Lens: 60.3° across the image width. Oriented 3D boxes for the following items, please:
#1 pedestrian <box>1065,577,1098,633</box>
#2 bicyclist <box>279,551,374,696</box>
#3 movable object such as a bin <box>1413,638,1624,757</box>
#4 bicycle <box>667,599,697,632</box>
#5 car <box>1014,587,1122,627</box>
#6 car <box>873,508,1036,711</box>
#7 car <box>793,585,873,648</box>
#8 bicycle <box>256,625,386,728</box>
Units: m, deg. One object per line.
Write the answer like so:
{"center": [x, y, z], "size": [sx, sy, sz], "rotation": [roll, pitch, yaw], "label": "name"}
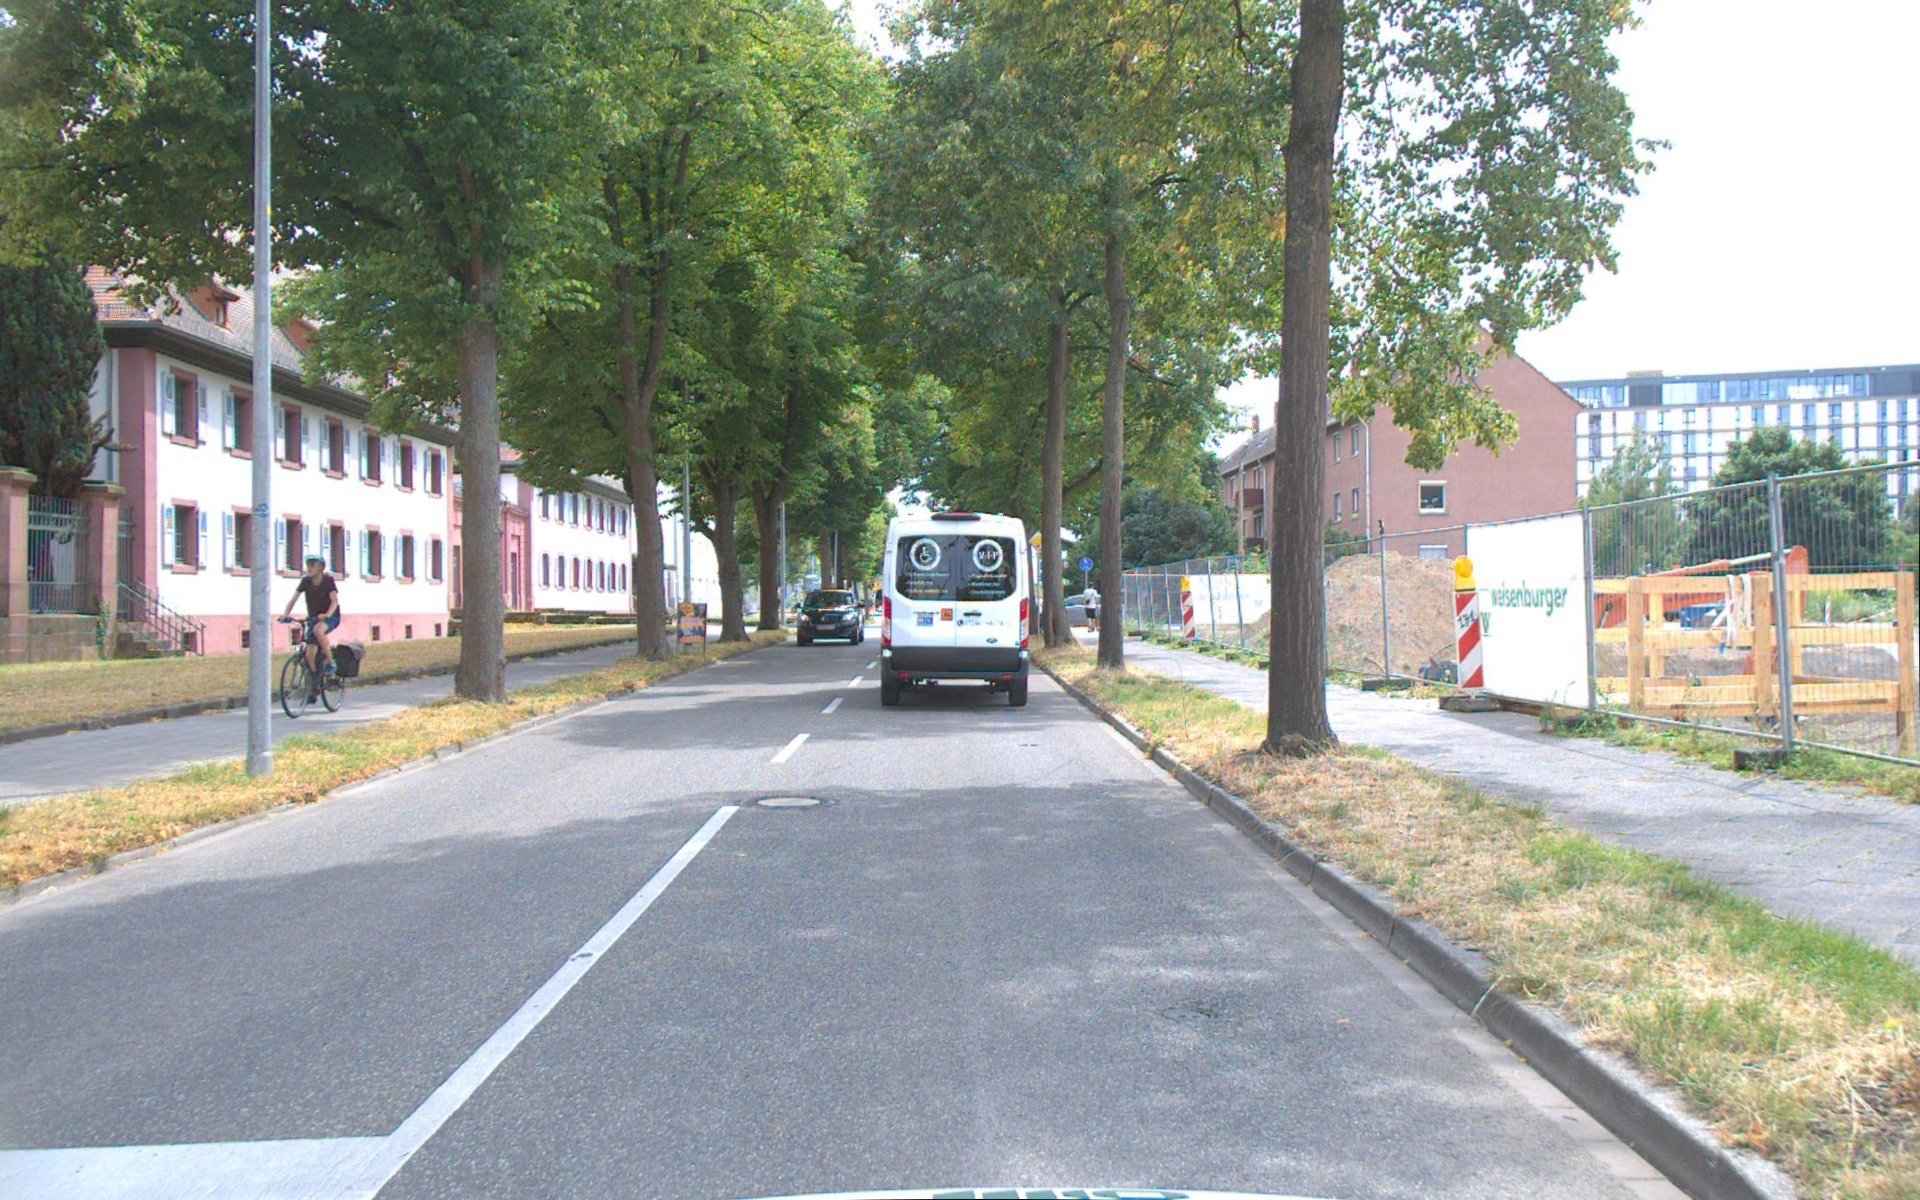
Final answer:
{"center": [4.132, 0.159, 56.335], "size": [0.864, 1.846, 0.889], "rotation": [-3, -1, 18], "label": "pedestrian"}
{"center": [-7.695, 0.285, 20.128], "size": [0.708, 1.685, 0.958], "rotation": [3, 0, -1], "label": "bicyclist"}
{"center": [13.709, 2.376, 40.998], "size": [4.583, 2.635, 3.135], "rotation": [-3, -1, 13], "label": "movable object such as a bin"}
{"center": [-10.003, 0.545, 59.576], "size": [0.708, 1.114, 2.225], "rotation": [3, 0, -1], "label": "bicycle"}
{"center": [4.362, 0.293, 67.354], "size": [4.281, 1.468, 2.011], "rotation": [-1, -2, 0], "label": "car"}
{"center": [-0.168, 0.124, 23.073], "size": [2.022, 2.584, 3.997], "rotation": [0, 0, -4], "label": "car"}
{"center": [-3.657, 0.448, 48.279], "size": [1.734, 1.688, 4.259], "rotation": [-1, 1, 3], "label": "car"}
{"center": [-7.719, 0.896, 20.092], "size": [0.708, 1.114, 2.151], "rotation": [3, 0, -1], "label": "bicycle"}
